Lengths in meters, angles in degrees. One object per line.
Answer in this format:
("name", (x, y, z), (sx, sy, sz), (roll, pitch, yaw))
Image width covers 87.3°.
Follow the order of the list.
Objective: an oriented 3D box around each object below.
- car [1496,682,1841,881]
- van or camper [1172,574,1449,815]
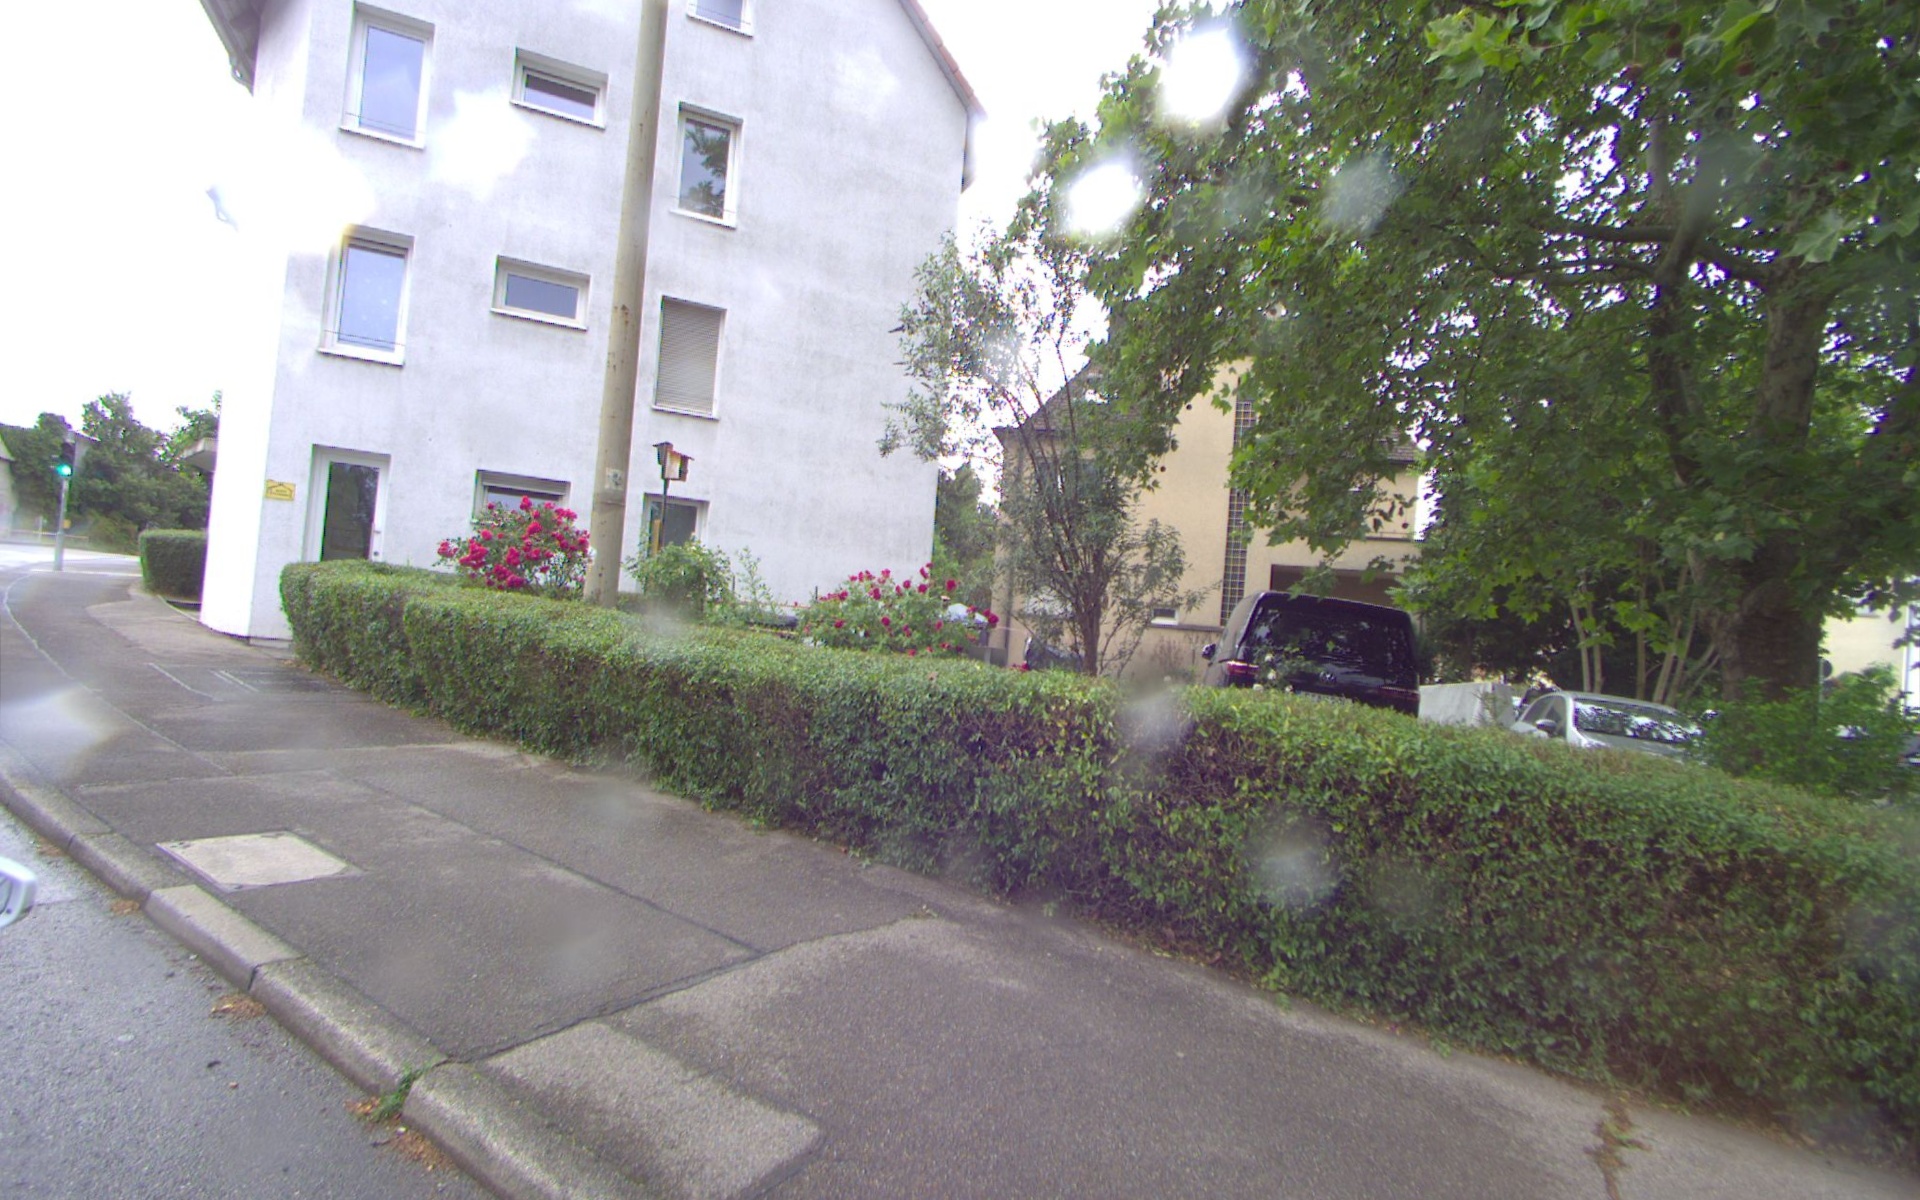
("car", (7.401, 1.770, 11.053), (1.963, 1.481, 4.002), (6, -2, 20))
("van or camper", (3.588, 0.942, 11.205), (1.962, 1.926, 4.333), (7, -2, 9))
